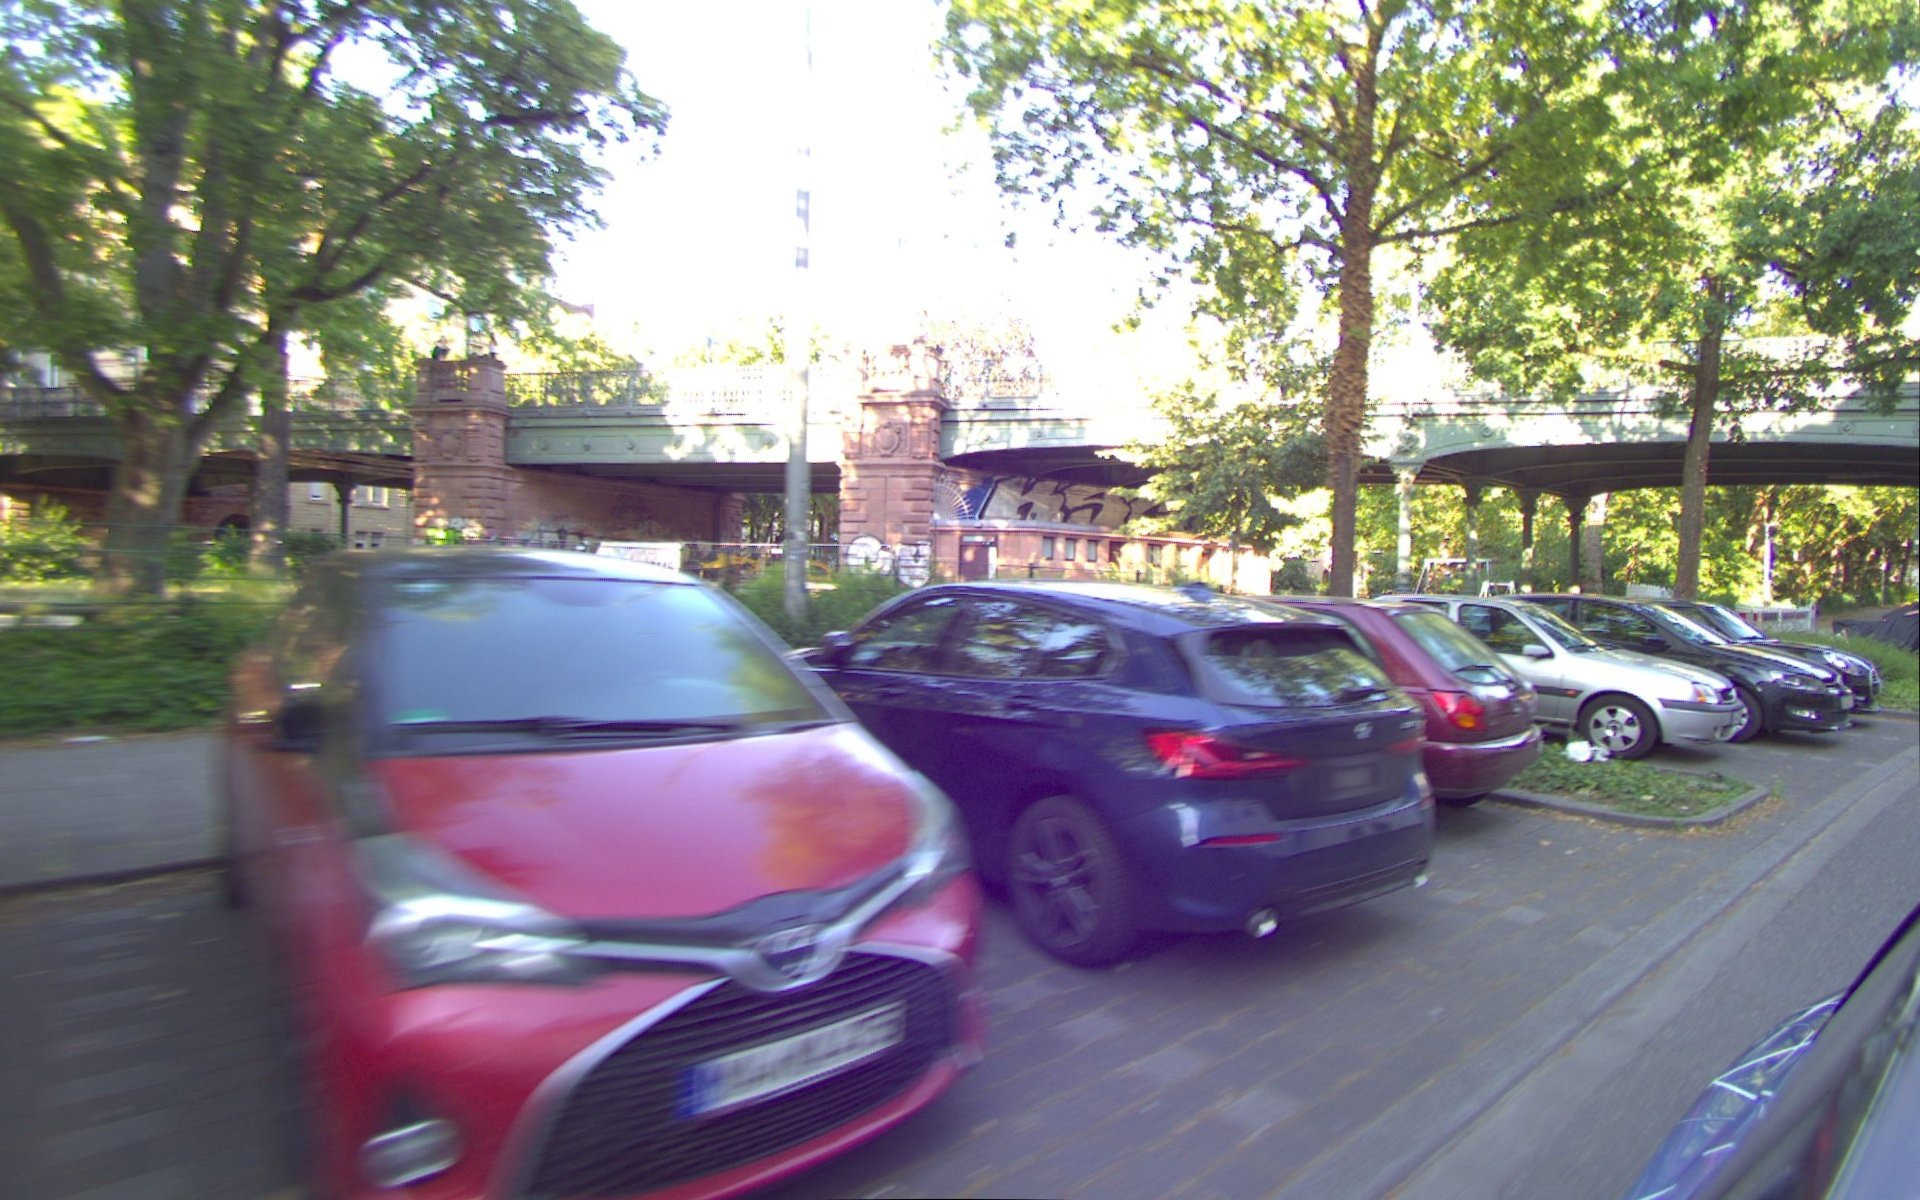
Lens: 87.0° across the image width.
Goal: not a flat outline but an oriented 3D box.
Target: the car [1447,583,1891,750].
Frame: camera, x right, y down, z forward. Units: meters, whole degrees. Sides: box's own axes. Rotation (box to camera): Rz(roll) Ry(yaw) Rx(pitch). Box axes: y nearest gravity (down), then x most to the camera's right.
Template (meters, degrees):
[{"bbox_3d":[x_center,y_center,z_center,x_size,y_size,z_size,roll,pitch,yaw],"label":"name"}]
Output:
[{"bbox_3d":[7.887,0.592,11.549,1.795,1.418,3.791,-1,4,-39],"label":"car"}]

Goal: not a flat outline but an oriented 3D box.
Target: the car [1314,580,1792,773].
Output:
[{"bbox_3d":[5.714,0.575,10.117,1.635,1.418,3.790,-2,4,-41],"label":"car"}]

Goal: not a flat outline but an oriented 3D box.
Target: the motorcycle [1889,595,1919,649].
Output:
[{"bbox_3d":[26.158,0.589,27.189,0.697,1.425,1.609,-1,1,-21],"label":"motorcycle"}]

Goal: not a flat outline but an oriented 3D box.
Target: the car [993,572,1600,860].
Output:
[{"bbox_3d":[2.203,0.561,7.320,1.738,1.418,3.786,-2,4,-44],"label":"car"}]

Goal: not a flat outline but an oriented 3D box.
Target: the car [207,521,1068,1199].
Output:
[{"bbox_3d":[-1.541,0.519,3.531,1.634,1.491,3.793,-1,3,-38],"label":"car"}]

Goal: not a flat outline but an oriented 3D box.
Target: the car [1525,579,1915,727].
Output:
[{"bbox_3d":[9.626,0.541,13.023,1.609,1.490,3.786,-2,4,-44],"label":"car"}]

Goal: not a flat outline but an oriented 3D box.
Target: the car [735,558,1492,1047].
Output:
[{"bbox_3d":[0.370,0.552,5.152,1.633,1.464,3.796,-1,3,-35],"label":"car"}]

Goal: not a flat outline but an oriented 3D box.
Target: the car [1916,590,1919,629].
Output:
[{"bbox_3d":[41.760,0.453,40.684,1.703,1.625,4.600,-1,3,-37],"label":"car"}]

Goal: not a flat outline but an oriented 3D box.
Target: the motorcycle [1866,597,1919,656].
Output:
[{"bbox_3d":[23.944,0.662,25.425,0.697,1.425,1.609,-1,1,-21],"label":"motorcycle"}]

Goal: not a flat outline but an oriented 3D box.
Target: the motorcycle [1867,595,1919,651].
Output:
[{"bbox_3d":[25.257,0.608,26.870,0.697,1.425,1.609,-1,1,-21],"label":"motorcycle"}]

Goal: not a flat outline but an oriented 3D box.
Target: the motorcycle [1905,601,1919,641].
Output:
[{"bbox_3d":[29.350,0.617,29.950,1.819,1.146,0.843,0,1,26],"label":"motorcycle"}]
